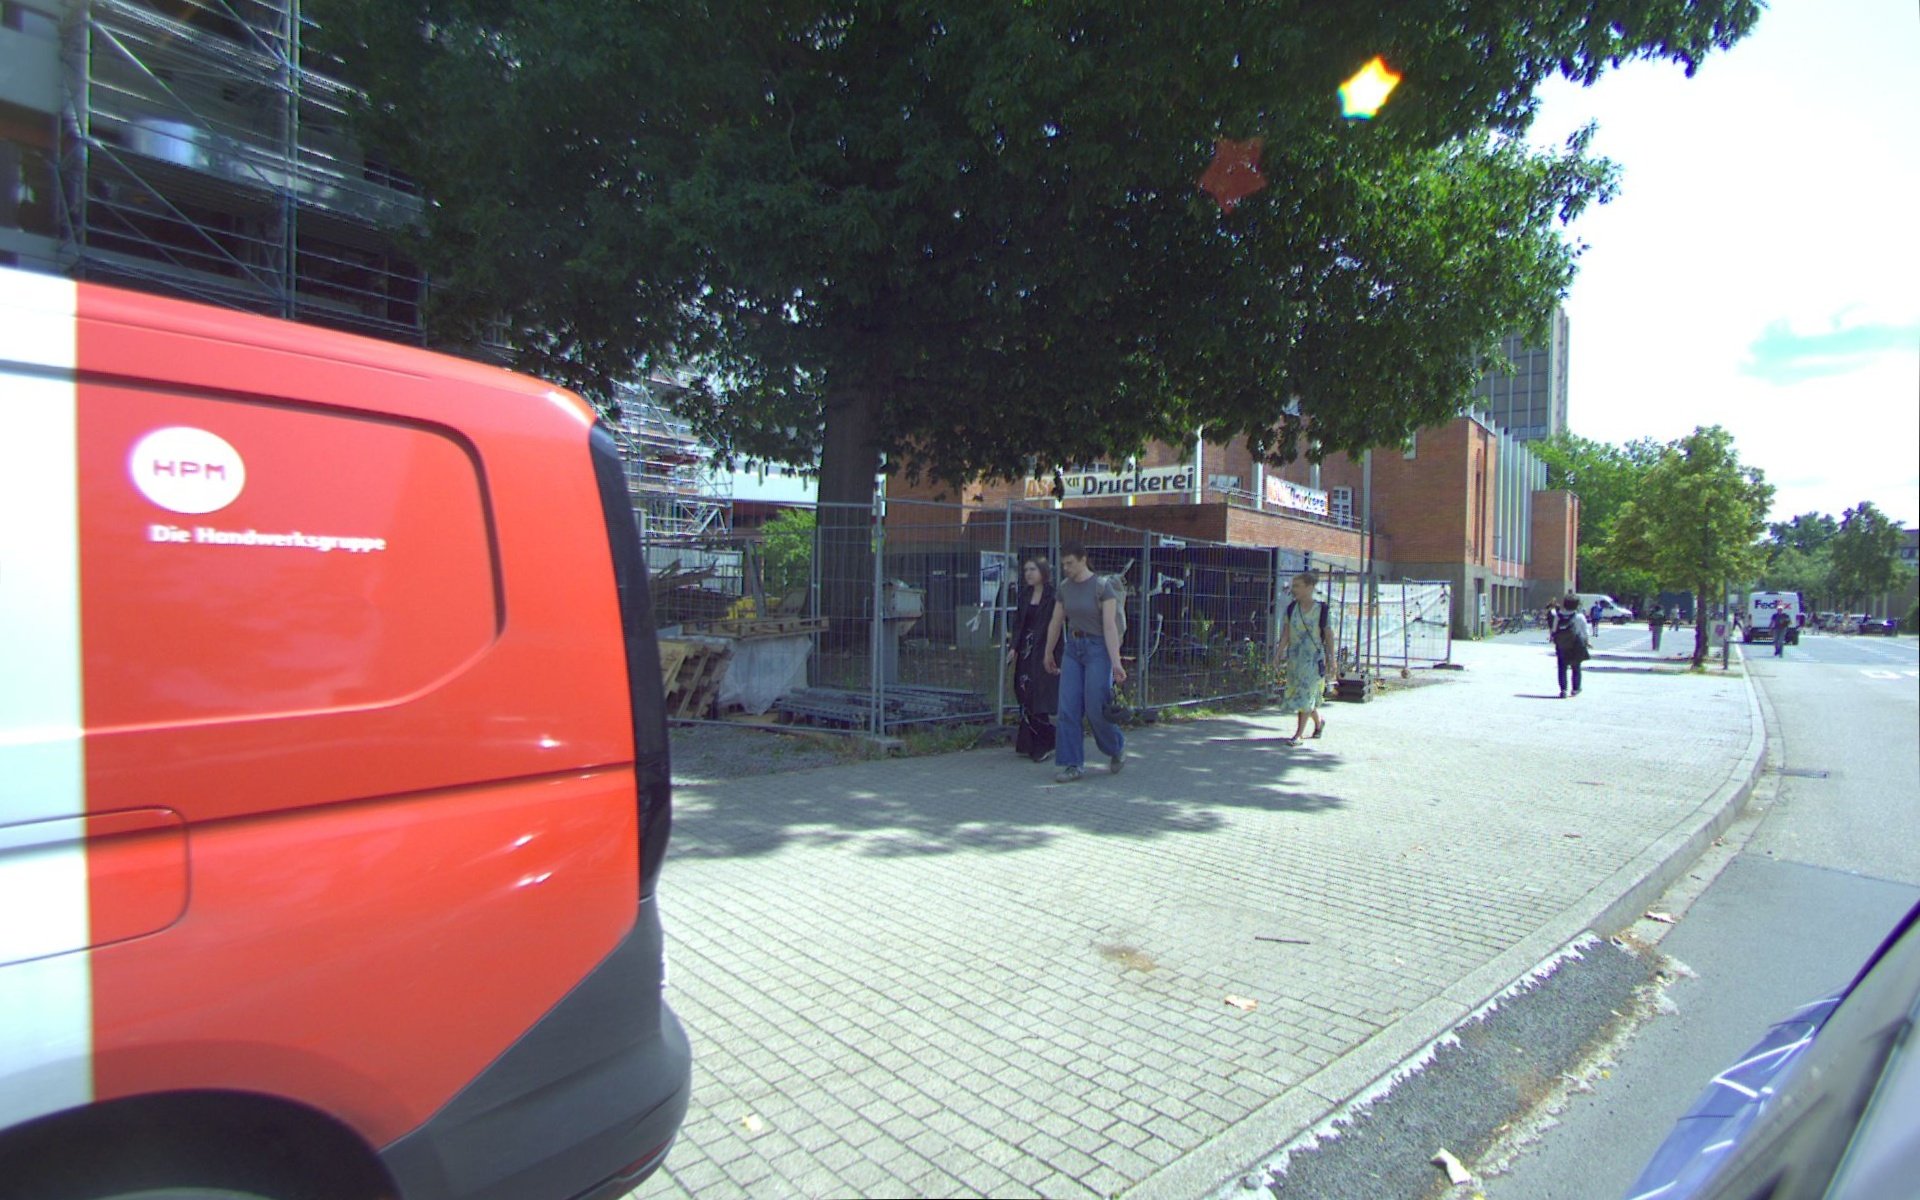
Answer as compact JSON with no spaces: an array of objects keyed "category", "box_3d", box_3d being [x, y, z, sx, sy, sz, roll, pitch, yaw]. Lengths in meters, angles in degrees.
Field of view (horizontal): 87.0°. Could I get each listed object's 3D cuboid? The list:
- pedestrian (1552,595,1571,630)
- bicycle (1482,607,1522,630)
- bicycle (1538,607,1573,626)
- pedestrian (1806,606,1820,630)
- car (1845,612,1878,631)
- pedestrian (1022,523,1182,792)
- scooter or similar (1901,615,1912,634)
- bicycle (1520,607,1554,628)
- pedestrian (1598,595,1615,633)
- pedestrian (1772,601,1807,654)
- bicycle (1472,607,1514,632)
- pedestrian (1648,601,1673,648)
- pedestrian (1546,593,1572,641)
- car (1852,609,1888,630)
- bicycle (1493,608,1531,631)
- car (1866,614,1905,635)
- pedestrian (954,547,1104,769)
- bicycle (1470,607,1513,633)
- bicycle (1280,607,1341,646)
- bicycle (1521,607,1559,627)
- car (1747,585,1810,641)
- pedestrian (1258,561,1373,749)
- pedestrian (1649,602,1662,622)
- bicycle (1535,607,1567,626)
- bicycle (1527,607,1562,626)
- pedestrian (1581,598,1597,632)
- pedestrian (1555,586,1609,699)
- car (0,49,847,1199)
[{"category":"pedestrian","box_3d":[33.099,0.680,55.692,0.891,1.857,0.664,1,0,-43]},{"category":"bicycle","box_3d":[27.246,0.920,50.868,1.743,1.124,0.430,2,0,37]},{"category":"bicycle","box_3d":[38.319,1.053,65.151,1.925,1.124,0.450,2,0,37]},{"category":"pedestrian","box_3d":[62.594,1.293,74.238,0.552,1.738,0.964,1,0,26]},{"category":"car","box_3d":[70.659,1.683,79.374,1.641,1.394,3.944,1,0,38]},{"category":"pedestrian","box_3d":[1.017,0.369,7.269,0.704,1.786,0.851,1,1,-44]},{"category":"scooter or similar","box_3d":[61.698,1.599,65.959,0.469,1.231,1.186,1,0,43]},{"category":"bicycle","box_3d":[33.730,1.020,59.201,1.678,1.124,0.430,2,0,37]},{"category":"pedestrian","box_3d":[33.016,0.714,51.670,0.662,1.913,1.096,2,1,35]},{"category":"pedestrian","box_3d":[30.055,0.980,36.668,0.820,1.840,1.131,1,0,33]},{"category":"bicycle","box_3d":[25.781,0.932,48.956,1.749,1.164,0.511,2,0,37]},{"category":"pedestrian","box_3d":[26.407,0.913,38.151,0.641,1.718,0.780,1,0,42]},{"category":"pedestrian","box_3d":[24.132,0.678,40.792,0.840,1.857,1.183,1,0,33]},{"category":"car","box_3d":[67.266,1.412,74.832,1.627,1.449,3.583,1,0,37]},{"category":"bicycle","box_3d":[28.285,0.972,51.887,1.678,1.124,0.430,2,0,37]},{"category":"car","box_3d":[63.551,1.663,69.540,1.693,1.311,3.710,2,0,38]},{"category":"pedestrian","box_3d":[0.550,0.414,7.951,0.969,1.620,0.669,1,1,-44]},{"category":"bicycle","box_3d":[25.307,0.928,48.165,1.749,1.164,0.430,2,0,37]},{"category":"bicycle","box_3d":[10.612,0.792,30.675,1.698,1.123,0.441,1,0,39]},{"category":"bicycle","box_3d":[34.689,1.019,60.550,1.906,1.124,0.430,2,0,37]},{"category":"car","box_3d":[40.861,0.626,50.611,2.053,2.575,5.774,1,0,36]},{"category":"pedestrian","box_3d":[3.378,0.487,9.610,0.889,1.687,0.650,1,0,-42]},{"category":"pedestrian","box_3d":[61.649,1.064,89.739,0.778,1.696,1.068,2,1,30]},{"category":"bicycle","box_3d":[37.244,1.054,63.730,1.690,1.124,0.430,2,0,37]},{"category":"bicycle","box_3d":[35.793,1.018,61.956,1.792,1.124,0.430,2,0,37]},{"category":"pedestrian","box_3d":[32.510,0.769,52.322,0.583,1.728,0.988,2,1,38]},{"category":"pedestrian","box_3d":[10.378,0.686,16.879,0.692,1.803,0.777,2,0,36]},{"category":"car","box_3d":[-2.615,0.321,0.940,4.806,1.915,1.851,1,1,-42]}]
